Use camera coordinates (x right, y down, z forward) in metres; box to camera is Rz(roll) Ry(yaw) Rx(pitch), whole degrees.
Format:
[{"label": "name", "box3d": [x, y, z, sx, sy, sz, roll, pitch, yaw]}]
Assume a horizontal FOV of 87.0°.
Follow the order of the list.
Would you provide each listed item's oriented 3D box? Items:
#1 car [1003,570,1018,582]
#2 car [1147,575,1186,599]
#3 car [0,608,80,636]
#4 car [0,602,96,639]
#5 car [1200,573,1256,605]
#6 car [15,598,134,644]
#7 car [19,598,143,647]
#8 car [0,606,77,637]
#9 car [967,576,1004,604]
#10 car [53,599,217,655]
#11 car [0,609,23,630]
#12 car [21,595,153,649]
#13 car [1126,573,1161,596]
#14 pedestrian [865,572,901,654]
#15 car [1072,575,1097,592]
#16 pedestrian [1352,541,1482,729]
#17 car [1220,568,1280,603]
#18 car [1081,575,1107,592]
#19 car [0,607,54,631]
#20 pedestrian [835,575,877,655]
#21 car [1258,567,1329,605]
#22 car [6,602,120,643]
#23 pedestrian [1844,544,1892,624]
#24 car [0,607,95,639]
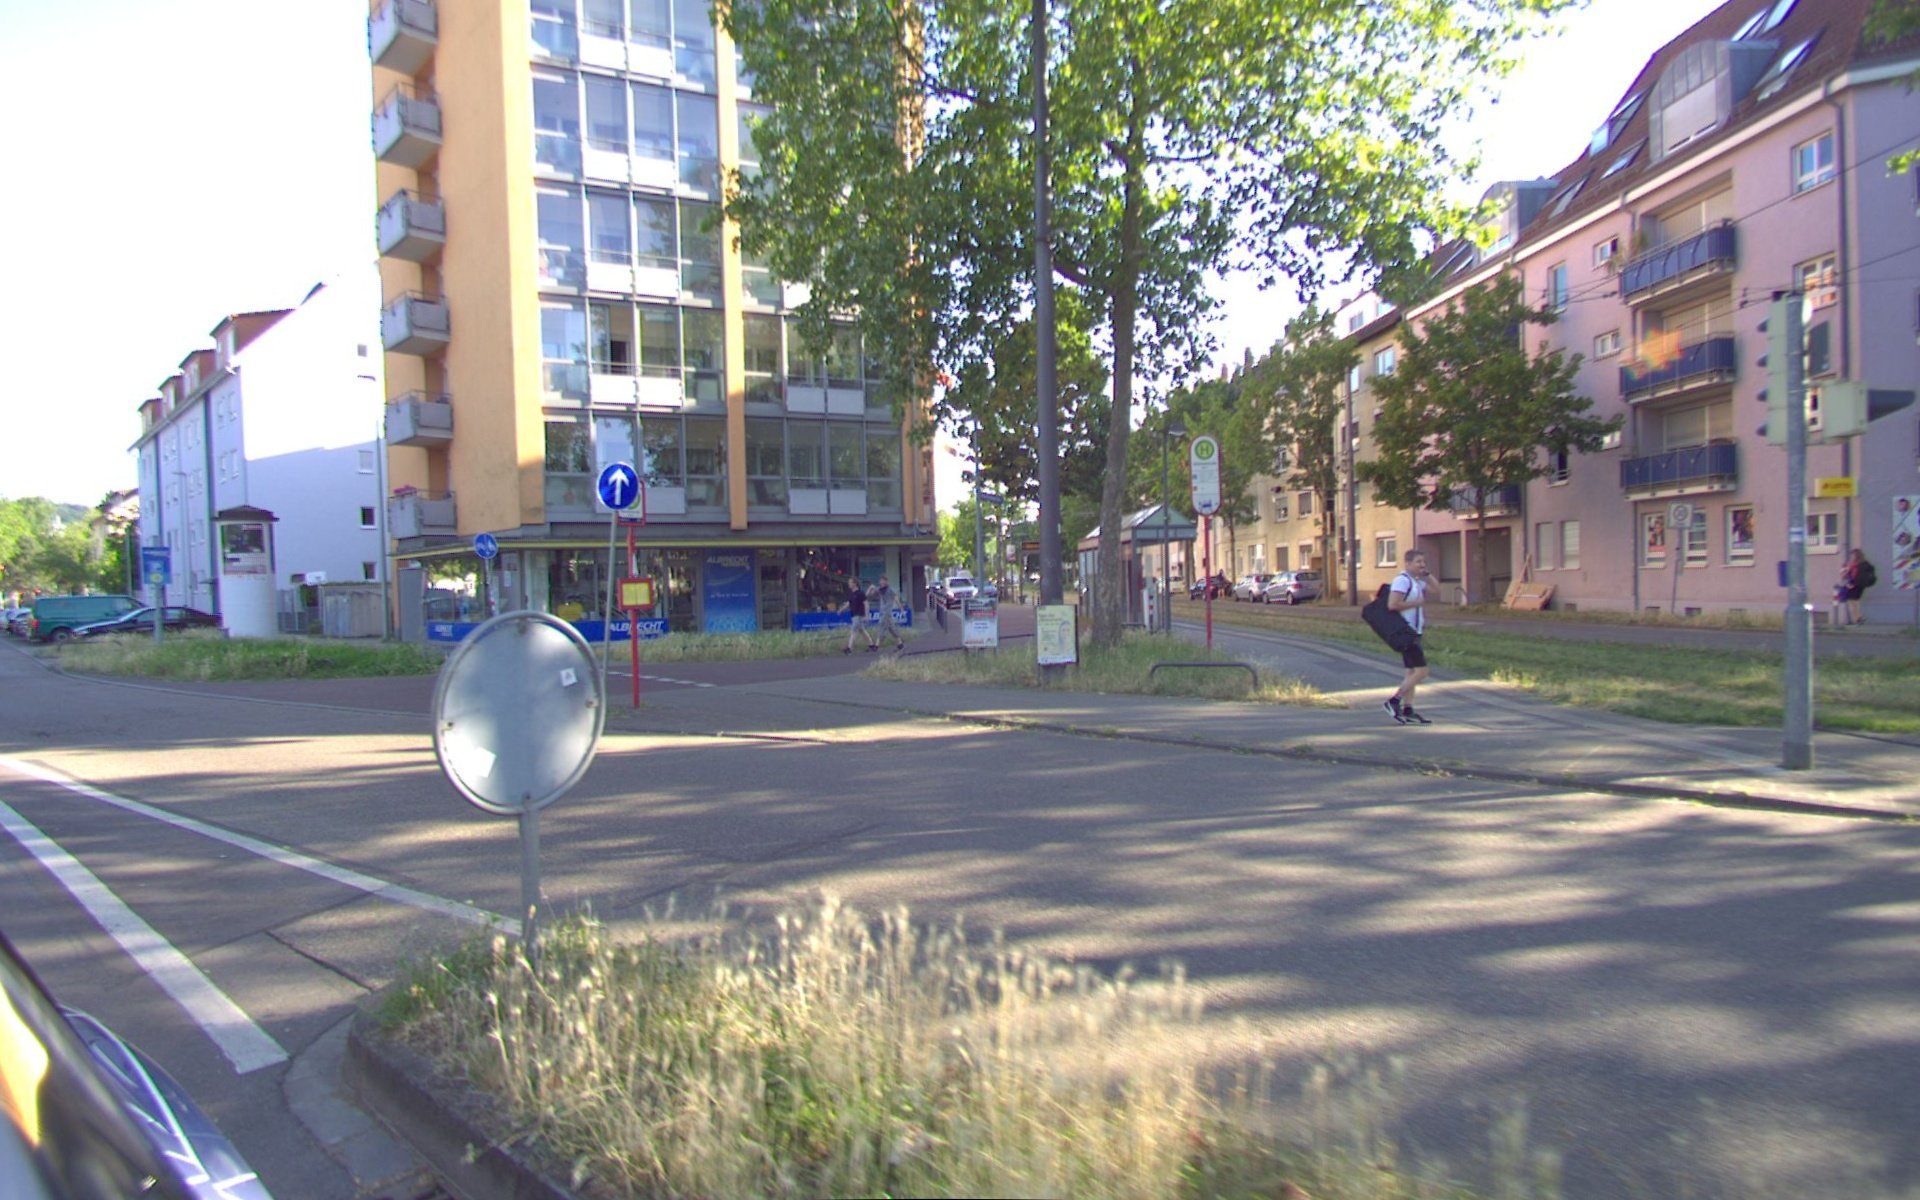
[{"label": "car", "box3d": [7.585, -3.652, 152.900, 1.911, 1.718, 4.371, -2, 2, -2]}, {"label": "car", "box3d": [14.760, -0.956, 72.466, 1.742, 1.588, 4.049, -2, 2, -2]}, {"label": "car", "box3d": [-60.164, 1.397, 65.903, 4.199, 1.584, 1.868, -3, 2, -44]}, {"label": "car", "box3d": [-50.756, 1.102, 56.244, 4.060, 1.785, 1.758, -3, 2, -44]}, {"label": "car", "box3d": [15.307, -0.667, 58.009, 1.911, 1.718, 4.114, -2, 2, -2]}, {"label": "car", "box3d": [-39.904, 0.917, 45.650, 3.940, 1.829, 2.002, -3, 2, -44]}, {"label": "car", "box3d": [-37.930, 0.923, 43.720, 3.940, 1.829, 2.002, -3, 2, -44]}, {"label": "car", "box3d": [-60.296, 1.367, 65.957, 4.015, 1.764, 1.900, -3, 2, -44]}, {"label": "car", "box3d": [1.550, -0.657, 62.905, 2.021, 1.588, 4.049, -2, 2, -2]}, {"label": "car", "box3d": [-29.187, 0.905, 35.929, 4.361, 1.674, 2.003, -3, 2, -40]}, {"label": "car", "box3d": [-79.033, 1.620, 82.760, 3.489, 1.584, 1.868, -3, 2, -44]}, {"label": "car", "box3d": [-36.050, 0.864, 41.848, 3.941, 1.962, 2.001, -3, 2, -45]}, {"label": "car", "box3d": [14.388, -1.248, 79.571, 1.808, 1.718, 4.058, -2, 2, -2]}, {"label": "pedestrian", "box3d": [-1.691, 0.268, 22.221, 0.623, 1.763, 0.688, -1, 2, 7]}, {"label": "car", "box3d": [13.439, -1.776, 109.579, 1.911, 1.718, 4.371, -2, 2, -2]}, {"label": "pedestrian", "box3d": [4.484, 0.316, 10.008, 1.080, 1.750, 0.897, -1, 2, 20]}, {"label": "car", "box3d": [15.231, -0.809, 53.391, 1.911, 1.718, 3.827, -2, 2, -2]}, {"label": "car", "box3d": [13.805, -1.710, 104.293, 1.911, 1.718, 4.002, -2, 2, -2]}, {"label": "car", "box3d": [-67.909, 1.397, 72.625, 4.199, 1.584, 1.868, -3, 2, -44]}, {"label": "pedestrian", "box3d": [-2.348, 0.330, 22.960, 0.803, 1.763, 0.538, -1, 1, 7]}, {"label": "car", "box3d": [16.009, -0.691, 48.827, 1.911, 1.718, 4.114, -2, 2, -2]}, {"label": "car", "box3d": [-43.561, 1.048, 49.203, 4.015, 1.764, 1.900, -3, 2, -44]}, {"label": "pedestrian", "box3d": [19.580, -0.352, 21.827, 0.542, 1.679, 0.622, -2, 2, -30]}, {"label": "car", "box3d": [-52.727, 1.300, 58.369, 4.199, 1.584, 1.868, -3, 2, -44]}]
